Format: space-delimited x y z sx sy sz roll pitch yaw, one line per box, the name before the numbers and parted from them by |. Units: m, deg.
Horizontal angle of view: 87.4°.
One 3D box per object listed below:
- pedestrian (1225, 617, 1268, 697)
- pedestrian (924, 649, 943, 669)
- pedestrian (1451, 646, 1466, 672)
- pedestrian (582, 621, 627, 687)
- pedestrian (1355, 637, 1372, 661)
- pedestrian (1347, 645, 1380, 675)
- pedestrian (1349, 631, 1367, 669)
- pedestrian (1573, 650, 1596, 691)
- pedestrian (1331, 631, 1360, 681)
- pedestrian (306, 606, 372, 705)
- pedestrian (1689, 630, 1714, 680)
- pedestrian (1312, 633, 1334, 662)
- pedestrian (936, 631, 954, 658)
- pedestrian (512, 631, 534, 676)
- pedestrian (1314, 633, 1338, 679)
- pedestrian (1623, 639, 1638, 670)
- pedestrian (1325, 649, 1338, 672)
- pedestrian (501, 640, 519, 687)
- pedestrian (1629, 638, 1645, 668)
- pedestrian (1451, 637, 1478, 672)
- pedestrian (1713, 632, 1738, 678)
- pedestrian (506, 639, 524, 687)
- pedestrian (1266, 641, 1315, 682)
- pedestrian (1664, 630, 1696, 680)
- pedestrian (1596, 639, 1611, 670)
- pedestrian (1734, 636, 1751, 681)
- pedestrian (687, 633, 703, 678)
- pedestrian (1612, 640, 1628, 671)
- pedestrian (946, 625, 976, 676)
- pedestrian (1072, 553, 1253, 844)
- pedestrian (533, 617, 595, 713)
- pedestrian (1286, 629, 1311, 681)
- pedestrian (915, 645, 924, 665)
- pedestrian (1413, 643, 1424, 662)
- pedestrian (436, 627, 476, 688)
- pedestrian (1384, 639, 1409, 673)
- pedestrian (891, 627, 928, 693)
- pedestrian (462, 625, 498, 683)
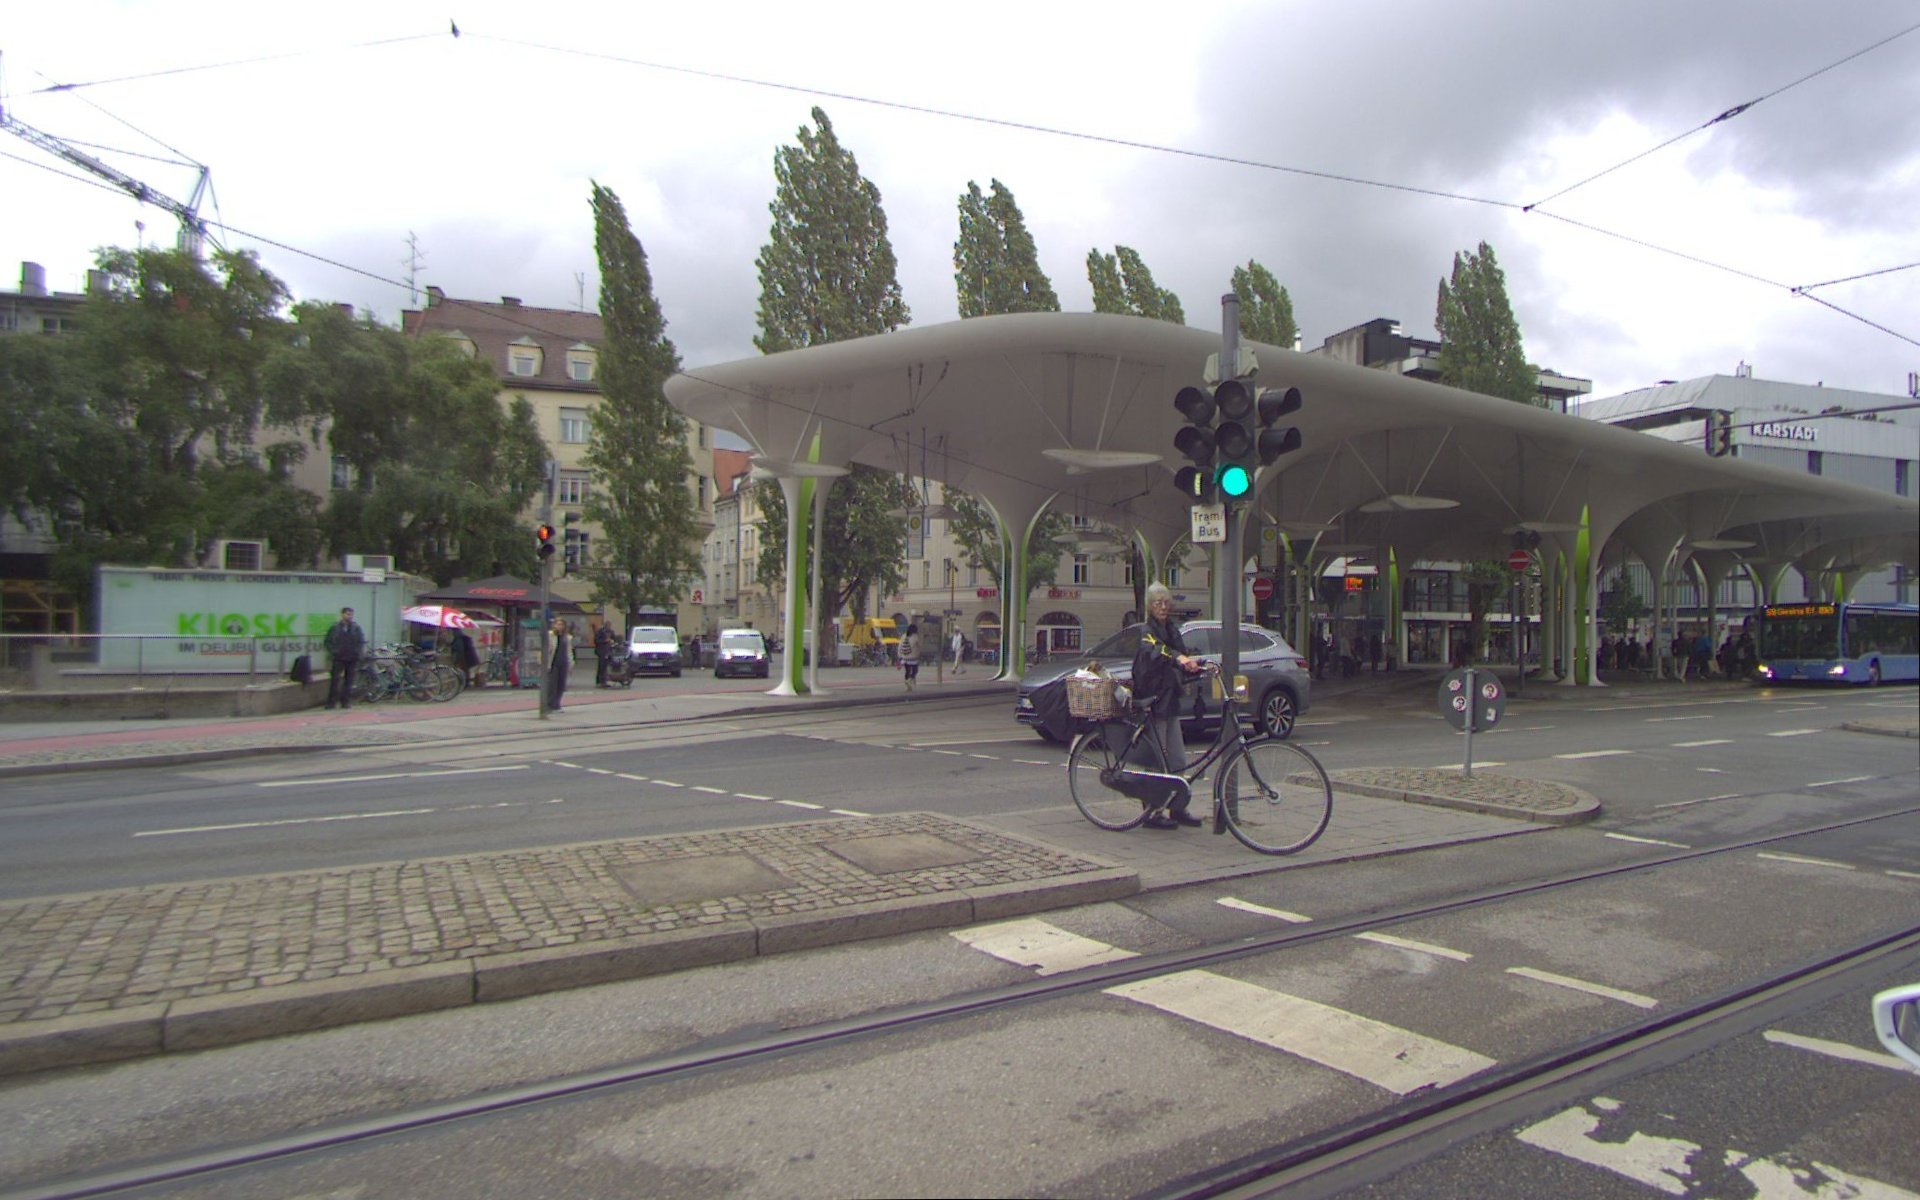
pedestrian | 6.827 1.335 23.923 0.805 1.863 0.658 2 -2 -42
pedestrian | -1.487 3.307 56.425 0.606 1.097 1.835 1 -2 -16
pedestrian | 24.637 2.929 49.677 0.563 1.282 0.520 0 -2 16
pedestrian | -9.914 1.492 28.030 0.947 1.785 1.022 2 -2 -33
pedestrian | 28.680 3.494 71.369 0.762 1.683 0.779 1 -1 -20
pedestrian | 16.760 2.469 41.739 0.867 1.170 0.908 1 0 -30
pedestrian | 18.103 2.279 45.654 0.635 1.719 0.700 0 -2 11
pedestrian | 32.277 3.639 51.937 0.889 2.040 0.673 0 -1 22
pedestrian | 13.776 1.975 35.881 0.799 1.750 0.668 -1 -2 44
pedestrian | -11.276 0.997 18.264 0.847 1.739 0.733 1 -1 -19
pedestrian | 26.919 1.986 36.467 0.750 1.766 0.559 2 -2 -42
pedestrian | 22.915 3.009 63.476 0.981 1.796 0.930 1 -1 -10
pedestrian | -1.019 3.015 67.985 0.792 1.807 0.951 1 -2 -31
pedestrian | -15.742 1.930 36.208 0.629 1.603 0.631 1 -2 -30
pedestrian | 12.670 1.937 34.763 0.586 1.565 0.634 -1 -2 42
pedestrian | 36.112 2.948 54.098 0.543 1.632 0.568 2 -2 -39
pedestrian | 16.566 2.705 44.748 0.450 1.002 0.513 0 -2 34
pedestrian | -12.404 1.746 27.675 0.425 1.286 0.409 1 -1 -25
pedestrian | 37.333 2.904 55.390 0.577 1.632 0.568 2 -2 -39
pedestrian | 25.860 2.788 51.467 0.884 1.753 0.868 1 -2 -27
pedestrian | 29.217 2.099 38.327 0.562 1.756 0.506 1 -1 -9
pedestrian | -12.057 1.698 27.208 0.425 1.286 0.409 1 -1 -25
pedestrian | 10.452 1.932 31.758 1.248 1.246 0.811 1 -1 -12
pedestrian | 25.745 1.944 35.916 0.874 1.744 0.708 2 -2 -39
pedestrian | 34.528 2.899 53.887 0.543 1.632 0.568 2 -2 -39
pedestrian | 28.538 2.121 36.619 0.387 1.626 0.390 2 -2 -35
pedestrian | -12.132 2.520 45.960 0.681 2.040 0.697 1 -1 -14
pedestrian | 34.912 2.914 53.123 0.543 1.632 0.568 2 -2 -39
pedestrian | 0.038 2.031 40.734 1.010 2.040 1.002 1 -1 -14
pedestrian | 1.367 0.641 6.891 0.883 1.835 0.858 2 -1 -16
pedestrian | -7.010 1.133 17.773 0.727 1.650 0.740 -1 -2 39
pedestrian | 12.626 2.038 37.485 0.700 1.897 0.877 0 -1 31
pedestrian | -2.233 3.046 55.584 0.397 1.097 0.467 1 -1 -16
pedestrian | 33.598 3.865 73.561 0.567 1.351 0.512 1 -1 -11
pedestrian | -13.471 1.533 26.884 0.784 1.621 0.738 1 -1 -15
pedestrian | 20.277 2.588 46.638 0.888 1.528 0.738 2 -2 -37
pedestrian | -1.278 1.522 25.679 0.822 1.631 0.748 1 -1 5
pedestrian | -13.651 1.521 28.589 0.784 1.621 0.738 1 -1 -15
